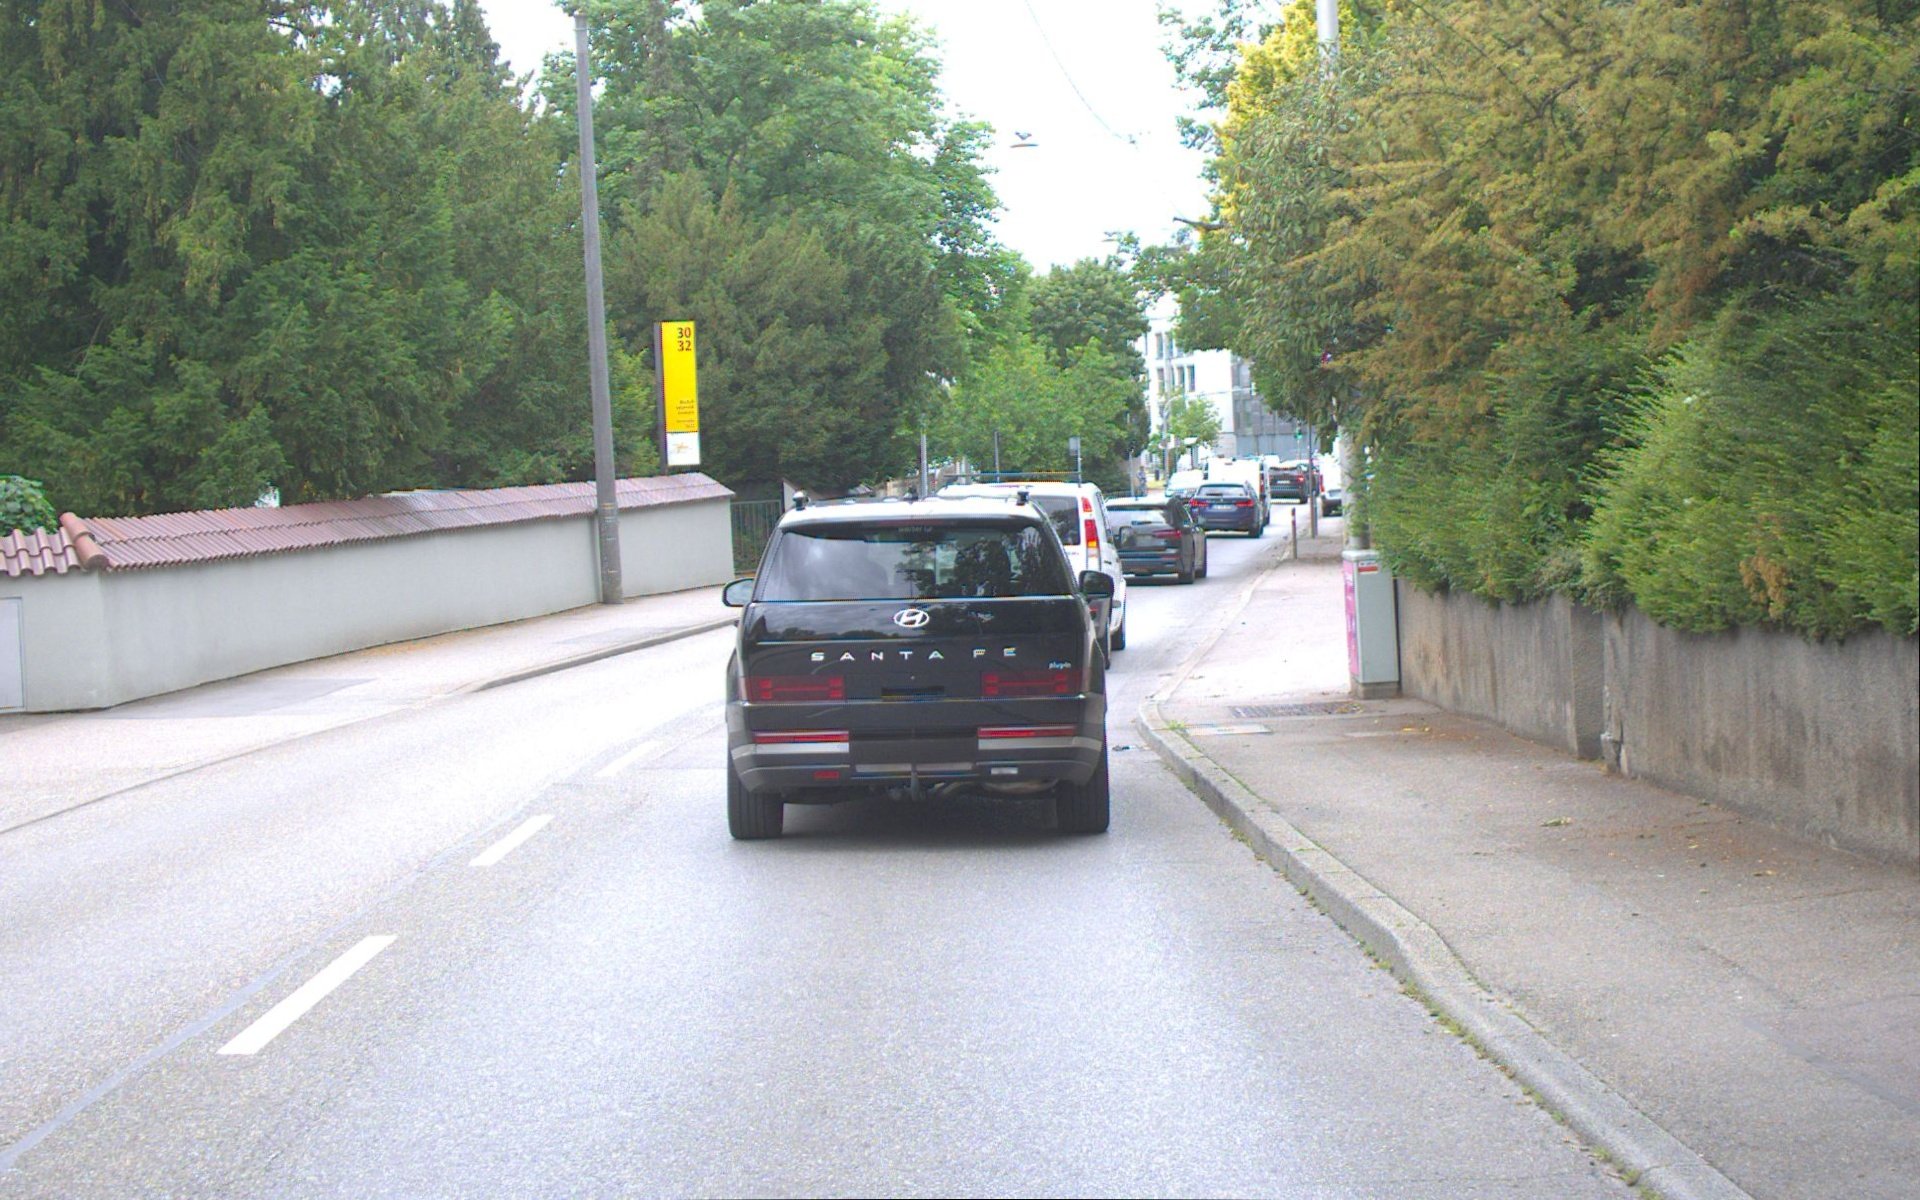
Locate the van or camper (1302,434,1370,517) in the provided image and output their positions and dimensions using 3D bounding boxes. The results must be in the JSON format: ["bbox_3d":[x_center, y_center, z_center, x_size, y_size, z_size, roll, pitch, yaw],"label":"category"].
[{"bbox_3d":[12.373,-4.133,112.999,2.044,2.569,5.248,-2,2,7],"label":"van or camper"}]

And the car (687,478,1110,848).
[{"bbox_3d":[-0.318,0.252,18.096,1.957,1.707,4.224,0,1,-1],"label":"car"}]

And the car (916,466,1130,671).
[{"bbox_3d":[0.718,-0.393,35.687,1.957,1.949,4.223,1,3,5],"label":"car"}]

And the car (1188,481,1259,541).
[{"bbox_3d":[6.858,-2.324,89.137,1.676,1.417,3.937,-2,2,6],"label":"car"}]

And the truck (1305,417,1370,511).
[{"bbox_3d":[14.573,-5.256,132.470,2.281,3.427,5.975,-2,2,7],"label":"truck"}]

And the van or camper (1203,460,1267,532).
[{"bbox_3d":[8.260,-3.139,103.112,1.676,2.000,3.937,-2,2,7],"label":"van or camper"}]

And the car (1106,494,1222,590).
[{"bbox_3d":[3.458,-0.995,57.711,1.676,1.417,3.937,-2,2,7],"label":"car"}]

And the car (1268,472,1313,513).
[{"bbox_3d":[13.551,-4.412,140.956,1.676,1.536,3.937,-2,2,7],"label":"car"}]
